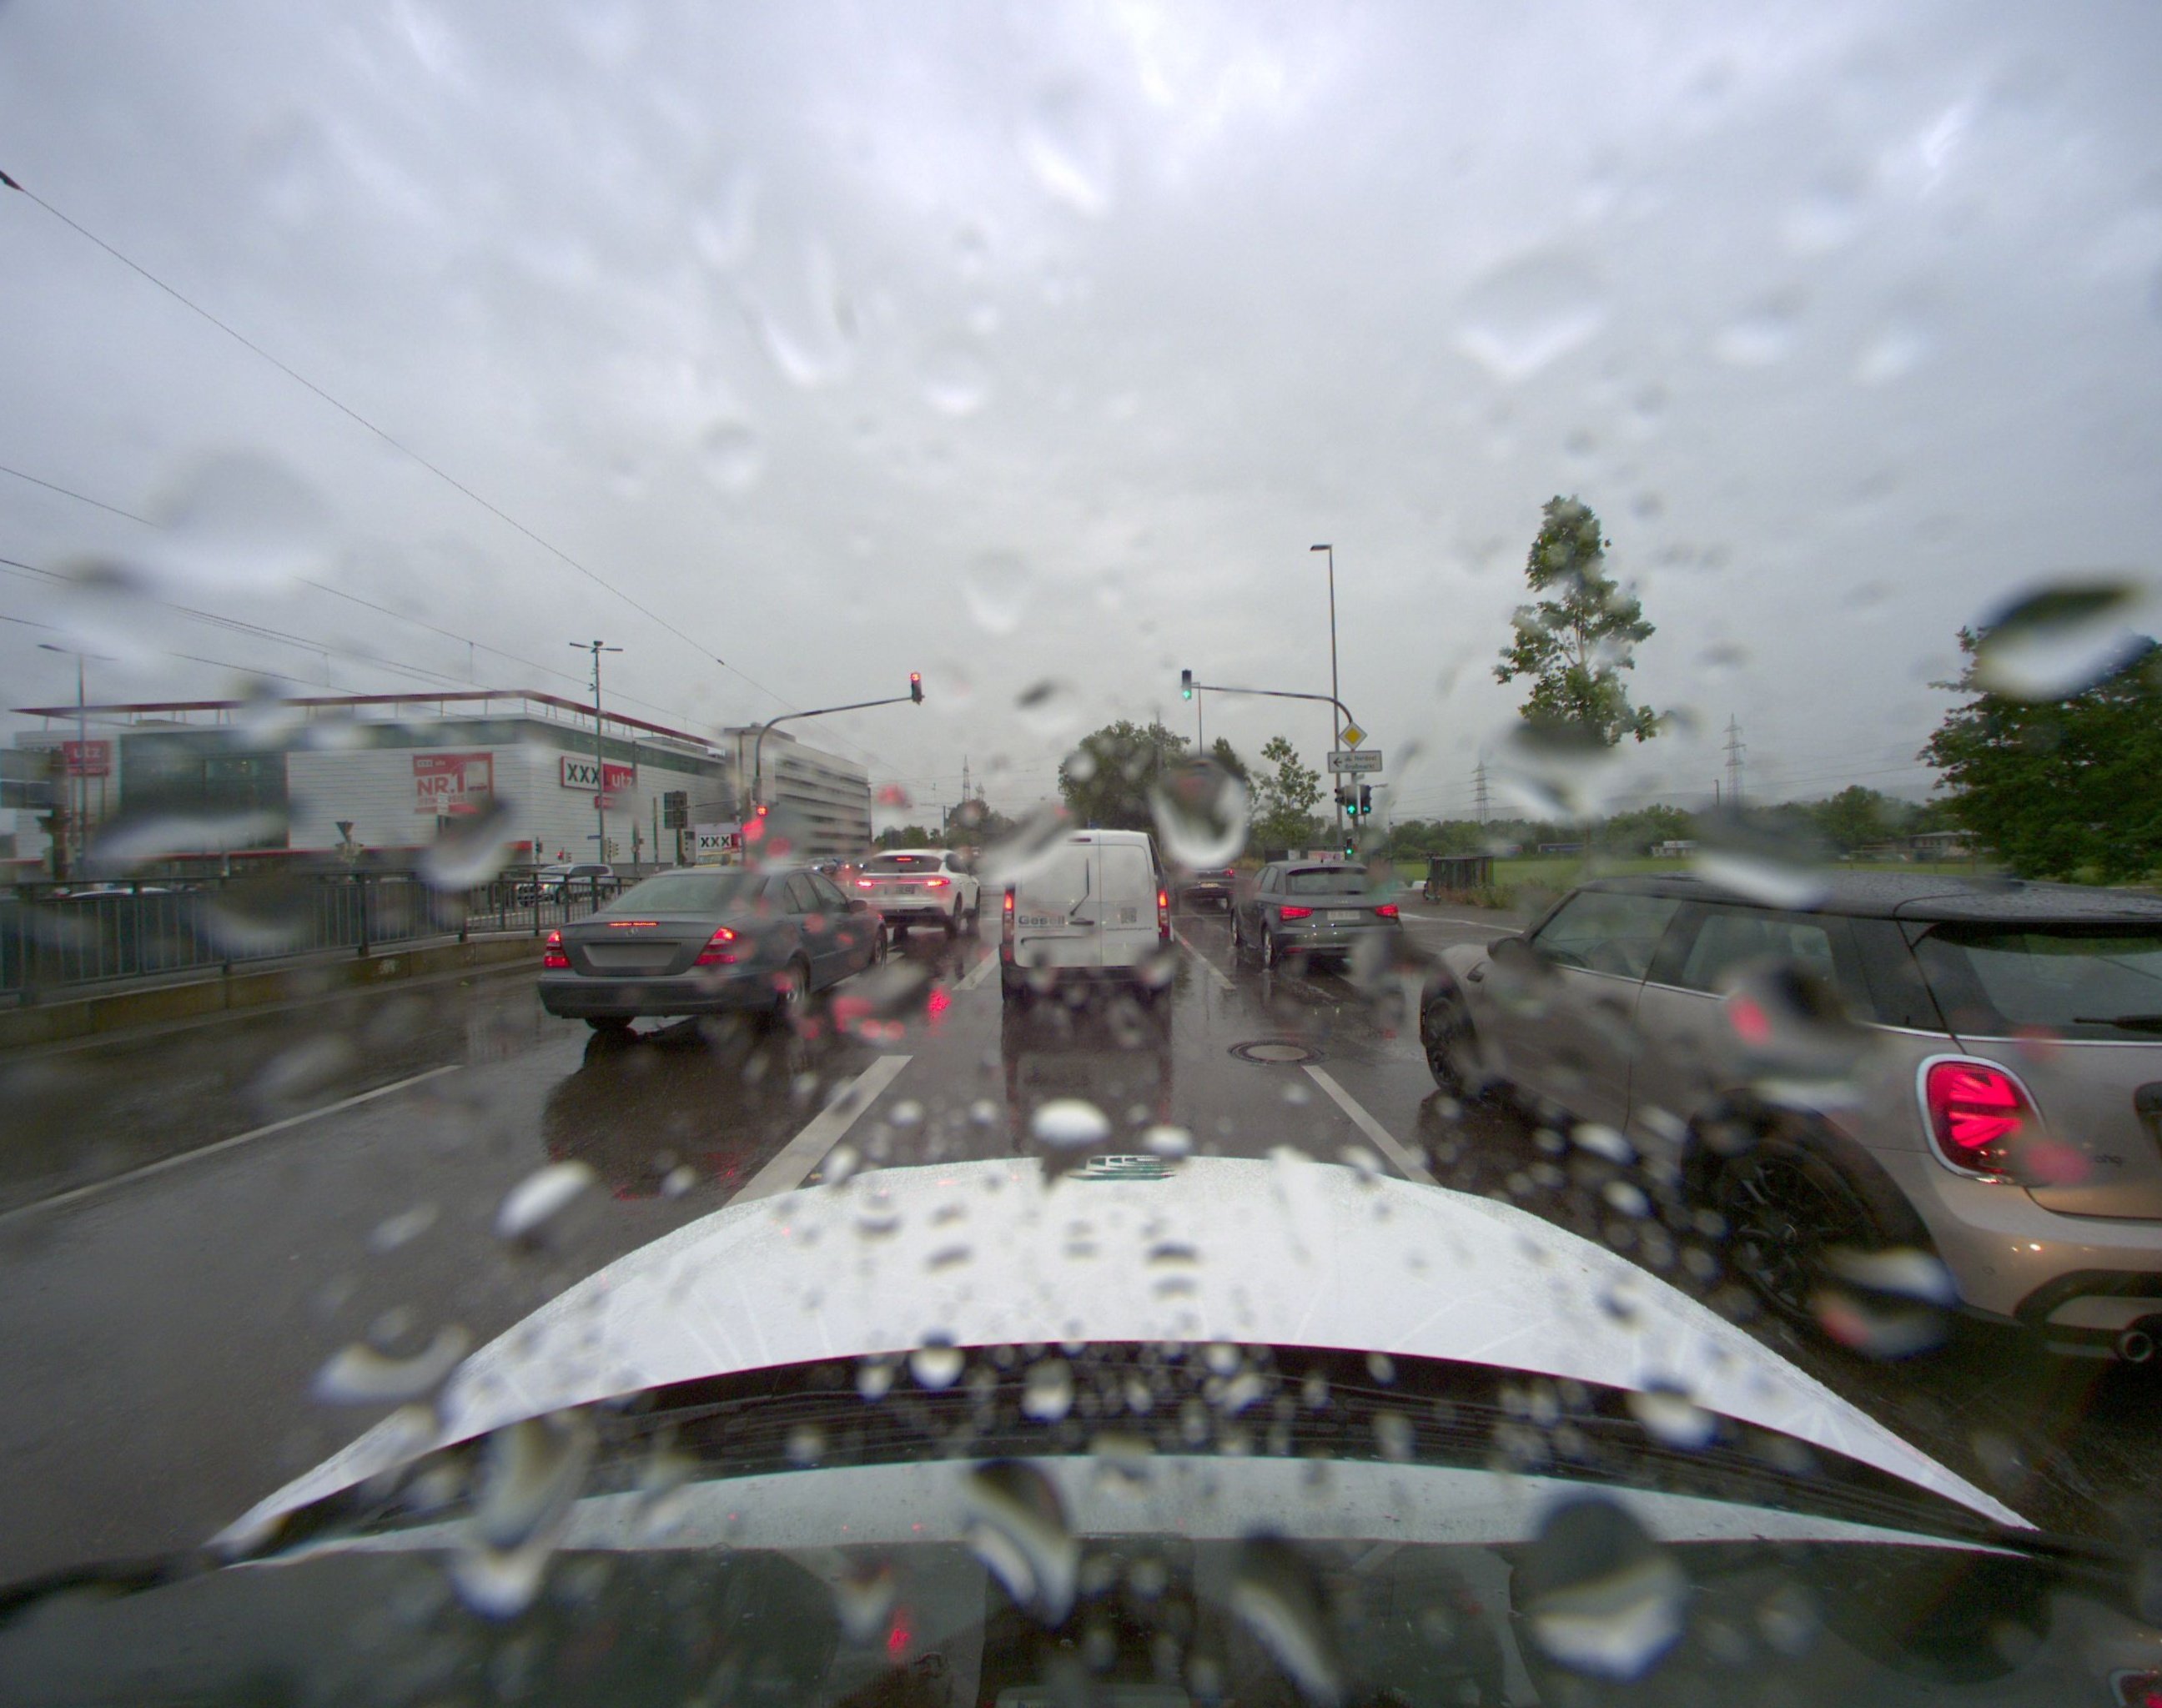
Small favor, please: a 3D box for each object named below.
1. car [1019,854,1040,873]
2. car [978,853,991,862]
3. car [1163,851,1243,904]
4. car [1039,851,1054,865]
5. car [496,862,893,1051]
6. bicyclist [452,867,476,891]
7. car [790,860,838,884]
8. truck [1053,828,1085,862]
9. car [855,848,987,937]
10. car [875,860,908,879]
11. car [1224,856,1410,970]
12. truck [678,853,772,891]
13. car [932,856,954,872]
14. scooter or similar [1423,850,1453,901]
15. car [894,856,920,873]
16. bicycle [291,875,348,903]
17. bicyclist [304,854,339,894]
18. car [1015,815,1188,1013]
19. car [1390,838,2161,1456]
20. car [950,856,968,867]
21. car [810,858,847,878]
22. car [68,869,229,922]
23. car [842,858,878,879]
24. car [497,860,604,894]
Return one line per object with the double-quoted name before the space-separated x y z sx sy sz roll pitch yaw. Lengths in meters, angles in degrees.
"car" -5.008 0.932 79.479 1.990 1.860 3.993 0 -1 -5
"car" -19.685 0.738 166.728 1.985 1.708 4.004 0 -1 3
"car" 3.523 0.636 24.168 1.853 1.428 3.808 0 0 1
"car" -4.658 0.539 110.884 1.989 1.859 3.997 0 1 -2
"car" -3.426 0.797 8.407 1.755 1.398 4.646 0 -1 2
"bicyclist" -30.228 1.212 39.915 0.681 1.134 0.647 0 -1 3
"car" -19.682 1.319 60.184 1.883 1.699 4.006 0 -1 6
"truck" -1.066 -0.729 71.399 2.625 2.816 7.142 -1 -1 -1
"car" -3.040 0.649 16.335 1.723 1.535 4.298 0 0 1
"car" -18.385 1.476 79.197 1.919 1.827 4.007 0 -1 6
"car" 3.130 0.718 11.518 1.623 1.344 3.624 0 0 1
"truck" -23.313 1.142 53.855 2.341 2.279 7.642 0 0 4
"car" -17.659 1.275 104.493 1.985 2.014 4.003 0 -1 3
"scooter or similar" 8.449 0.497 19.318 0.244 1.158 1.187 0 -1 3
"car" -21.275 1.253 99.705 1.984 2.014 4.005 0 -1 4
"bicycle" -28.117 1.277 30.098 0.448 0.987 1.710 0 -1 3
"bicyclist" -28.127 0.737 30.161 0.681 1.464 0.647 0 -1 3
"car" 0.255 0.561 9.486 1.560 1.788 4.002 -1 0 2
"car" 2.967 0.713 3.811 1.707 1.508 3.624 0 0 1
"car" -17.494 1.027 117.100 1.755 1.549 3.683 0 -1 3
"car" -22.247 1.276 71.908 1.720 1.661 3.545 0 -3 9
"car" -37.924 1.660 33.198 4.298 2.014 2.001 0 -1 1
"car" -19.236 1.300 71.102 1.838 1.798 4.002 -1 -2 3
"car" -21.859 0.920 33.733 1.579 1.336 3.837 -1 -1 6
